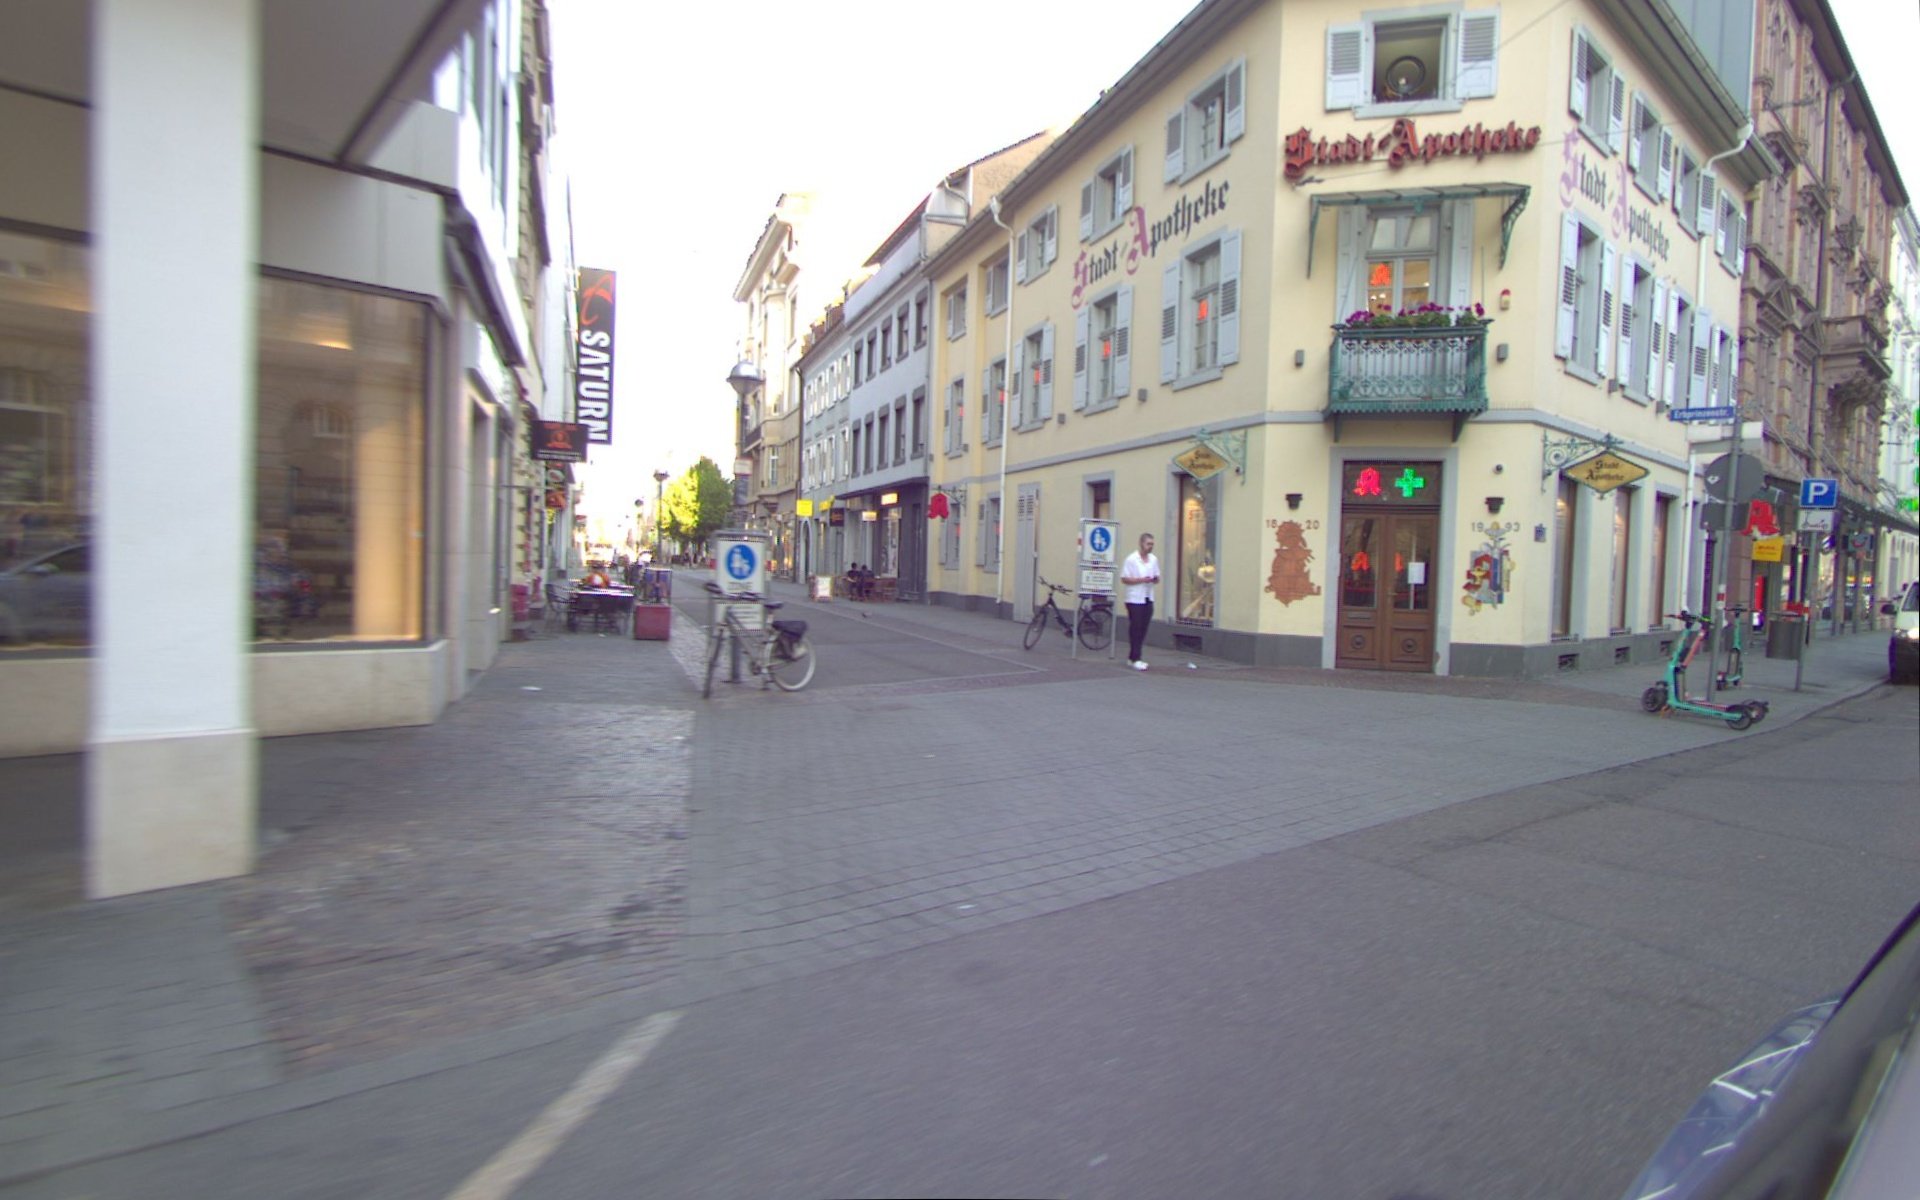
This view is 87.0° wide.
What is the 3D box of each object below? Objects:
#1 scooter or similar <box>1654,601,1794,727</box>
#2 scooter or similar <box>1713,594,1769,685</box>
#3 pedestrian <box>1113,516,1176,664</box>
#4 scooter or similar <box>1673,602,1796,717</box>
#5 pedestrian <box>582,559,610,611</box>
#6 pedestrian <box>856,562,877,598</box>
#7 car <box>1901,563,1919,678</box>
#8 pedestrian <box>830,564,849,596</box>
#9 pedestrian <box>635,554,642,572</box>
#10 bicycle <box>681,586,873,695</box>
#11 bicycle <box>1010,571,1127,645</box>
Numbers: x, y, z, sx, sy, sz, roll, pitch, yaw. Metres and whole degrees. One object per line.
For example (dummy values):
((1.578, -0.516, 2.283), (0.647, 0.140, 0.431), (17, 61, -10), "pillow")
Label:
((8.498, 0.681, 11.304), (0.310, 1.249, 1.182), (0, 3, -25), "scooter or similar")
((11.415, 0.556, 14.777), (1.284, 1.249, 0.272), (-1, 4, -38), "scooter or similar")
((2.619, -0.154, 14.350), (0.633, 2.038, 0.544), (0, 2, -35), "pedestrian")
((8.993, 0.676, 11.780), (1.034, 1.249, 0.271), (3, 3, 18), "scooter or similar")
((-8.176, -0.332, 22.749), (0.553, 1.137, 0.526), (1, 1, -18), "pedestrian")
((-3.035, -0.638, 32.759), (0.553, 1.137, 0.526), (1, 1, -18), "pedestrian")
((18.509, 0.320, 18.226), (4.619, 1.947, 1.879), (-1, 1, -42), "car")
((-4.361, -0.743, 36.700), (0.553, 1.137, 0.526), (1, 1, -18), "pedestrian")
((-20.098, -2.323, 63.328), (0.384, 1.137, 0.416), (1, 1, -18), "pedestrian")
((-1.898, 0.408, 10.636), (1.813, 1.042, 0.771), (2, 0, -38), "bicycle")
((1.807, 0.124, 16.964), (1.808, 1.196, 0.773), (0, 1, -11), "bicycle")
